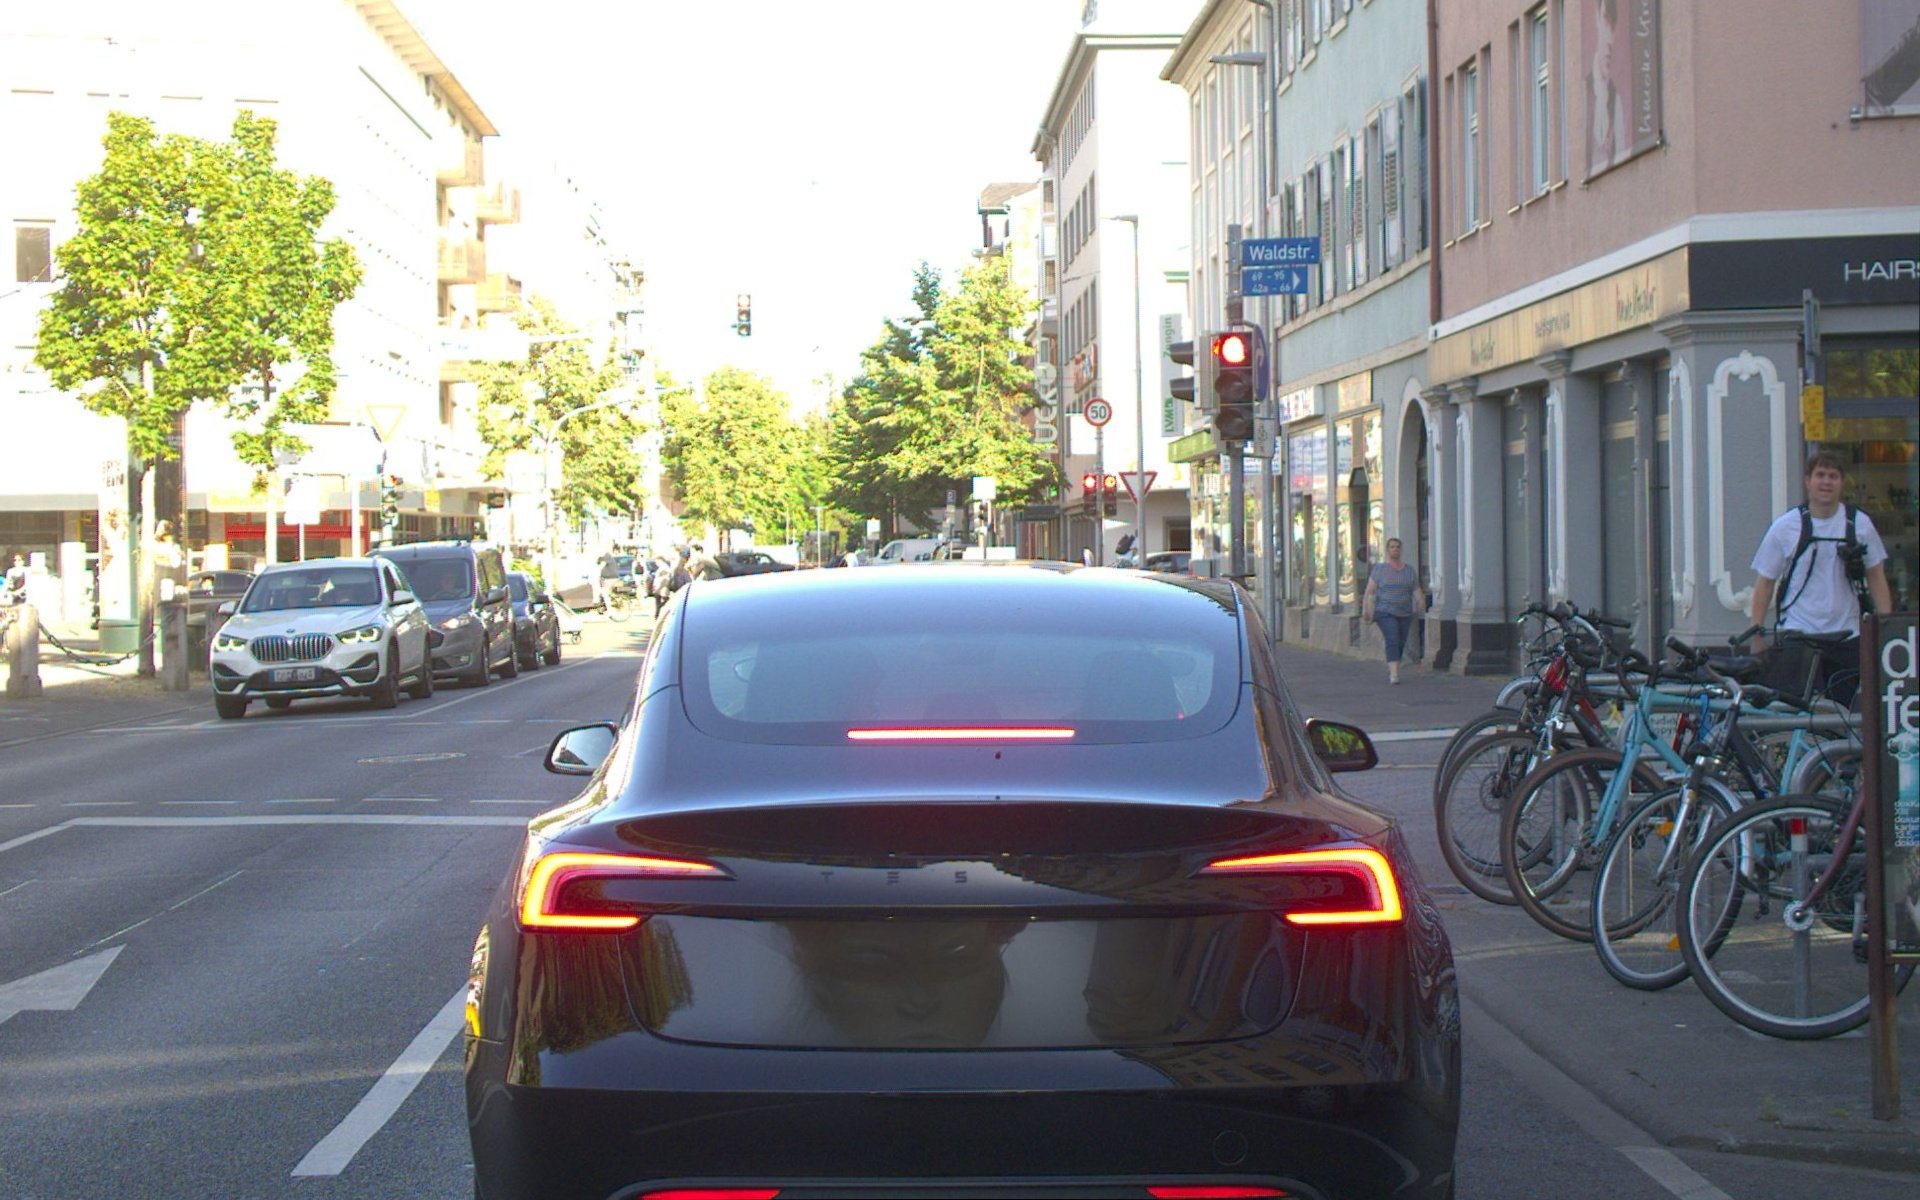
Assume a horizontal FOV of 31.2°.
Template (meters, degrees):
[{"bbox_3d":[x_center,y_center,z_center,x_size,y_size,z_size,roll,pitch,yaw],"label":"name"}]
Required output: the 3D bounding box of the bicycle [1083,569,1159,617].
[{"bbox_3d":[3.472,-0.146,74.136,1.556,1.009,0.484,1,0,-24],"label":"bicycle"}]

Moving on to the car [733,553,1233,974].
[{"bbox_3d":[0.011,0.536,13.698,1.718,1.420,3.758,0,1,-2],"label":"car"}]

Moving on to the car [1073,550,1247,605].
[{"bbox_3d":[5.091,-0.584,87.625,3.986,1.349,1.909,0,1,-21],"label":"car"}]

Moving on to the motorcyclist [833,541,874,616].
[{"bbox_3d":[-2.189,-0.440,70.497,0.719,1.523,0.516,0,1,-20],"label":"motorcyclist"}]

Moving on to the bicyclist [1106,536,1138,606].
[{"bbox_3d":[3.497,-0.618,74.141,0.522,1.498,0.476,1,0,-24],"label":"bicyclist"}]

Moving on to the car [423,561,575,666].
[{"bbox_3d":[-6.651,0.168,49.949,1.715,1.441,3.845,1,1,-1],"label":"car"}]

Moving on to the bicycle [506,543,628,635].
[{"bbox_3d":[-7.153,-0.199,62.598,2.101,1.659,0.669,1,0,-16],"label":"bicycle"}]

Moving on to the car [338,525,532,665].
[{"bbox_3d":[-6.448,-0.094,42.625,1.787,1.640,4.403,0,1,-1],"label":"car"}]

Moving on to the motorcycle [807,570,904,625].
[{"bbox_3d":[-2.142,-0.055,70.523,1.926,1.107,0.519,0,1,-21],"label":"motorcycle"}]

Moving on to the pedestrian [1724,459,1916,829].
[{"bbox_3d":[4.214,0.205,16.890,0.750,1.759,0.836,1,0,4],"label":"pedestrian"}]

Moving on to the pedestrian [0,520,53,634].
[{"bbox_3d":[-16.775,-0.405,61.320,1.057,2.007,1.055,1,0,-20],"label":"pedestrian"}]

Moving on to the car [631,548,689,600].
[{"bbox_3d":[-9.259,-0.808,105.821,1.706,1.546,3.697,0,1,-6],"label":"car"}]

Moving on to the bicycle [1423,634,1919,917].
[{"bbox_3d":[2.810,0.688,13.627,1.873,1.034,0.547,-2,0,5],"label":"bicycle"}]

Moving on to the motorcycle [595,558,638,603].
[{"bbox_3d":[-8.304,-0.478,83.115,0.977,1.082,0.356,0,1,-37],"label":"motorcycle"}]

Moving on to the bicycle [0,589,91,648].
[{"bbox_3d":[-14.840,0.294,54.691,1.864,0.931,0.606,0,1,-1],"label":"bicycle"}]

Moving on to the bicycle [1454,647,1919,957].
[{"bbox_3d":[2.773,0.719,12.453,1.873,1.034,0.533,-2,0,4],"label":"bicycle"}]

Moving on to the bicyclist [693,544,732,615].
[{"bbox_3d":[-4.885,-0.408,67.874,0.669,1.390,0.462,1,0,-16],"label":"bicyclist"}]

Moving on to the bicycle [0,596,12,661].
[{"bbox_3d":[-14.783,0.404,49.887,1.864,0.931,0.606,1,0,-1],"label":"bicycle"}]

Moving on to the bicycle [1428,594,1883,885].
[{"bbox_3d":[2.960,0.591,14.746,1.828,1.165,0.505,-2,0,5],"label":"bicycle"}]

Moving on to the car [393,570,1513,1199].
[{"bbox_3d":[-0.033,0.656,7.599,1.822,1.437,4.000,0,1,-1],"label":"car"}]

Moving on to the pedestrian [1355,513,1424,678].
[{"bbox_3d":[4.550,-0.054,36.433,0.706,1.736,0.540,0,1,9],"label":"pedestrian"}]

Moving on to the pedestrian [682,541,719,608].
[{"bbox_3d":[-6.910,-0.680,91.540,0.671,1.782,0.712,0,0,-36],"label":"pedestrian"}]

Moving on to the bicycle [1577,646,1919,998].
[{"bbox_3d":[2.991,0.702,11.164,1.873,1.084,0.414,-2,0,4],"label":"bicycle"}]

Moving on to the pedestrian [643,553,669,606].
[{"bbox_3d":[-8.117,-0.553,91.696,0.521,1.417,0.479,1,0,-30],"label":"pedestrian"}]

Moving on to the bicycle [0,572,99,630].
[{"bbox_3d":[-20.774,0.017,77.924,2.361,1.291,0.513,1,0,-26],"label":"bicycle"}]

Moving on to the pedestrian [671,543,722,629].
[{"bbox_3d":[-5.056,-0.276,65.977,0.754,1.626,0.956,1,0,-18],"label":"pedestrian"}]

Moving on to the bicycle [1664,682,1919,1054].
[{"bbox_3d":[3.021,0.754,9.942,1.873,1.034,0.353,-2,0,6],"label":"bicycle"}]

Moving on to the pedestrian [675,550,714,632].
[{"bbox_3d":[-5.000,-0.163,64.749,0.622,1.532,0.514,1,0,-18],"label":"pedestrian"}]

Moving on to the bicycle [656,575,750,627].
[{"bbox_3d":[-5.072,0.019,67.823,1.784,1.003,0.472,1,0,-16],"label":"bicycle"}]

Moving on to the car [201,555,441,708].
[{"bbox_3d":[-6.657,0.291,36.169,1.789,1.455,3.757,-2,1,0],"label":"car"}]

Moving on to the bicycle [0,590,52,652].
[{"bbox_3d":[-14.812,0.319,52.242,1.864,0.931,0.606,0,1,-1],"label":"bicycle"}]

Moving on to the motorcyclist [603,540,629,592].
[{"bbox_3d":[-8.313,-0.827,83.107,0.489,1.249,0.355,0,0,-37],"label":"motorcyclist"}]
